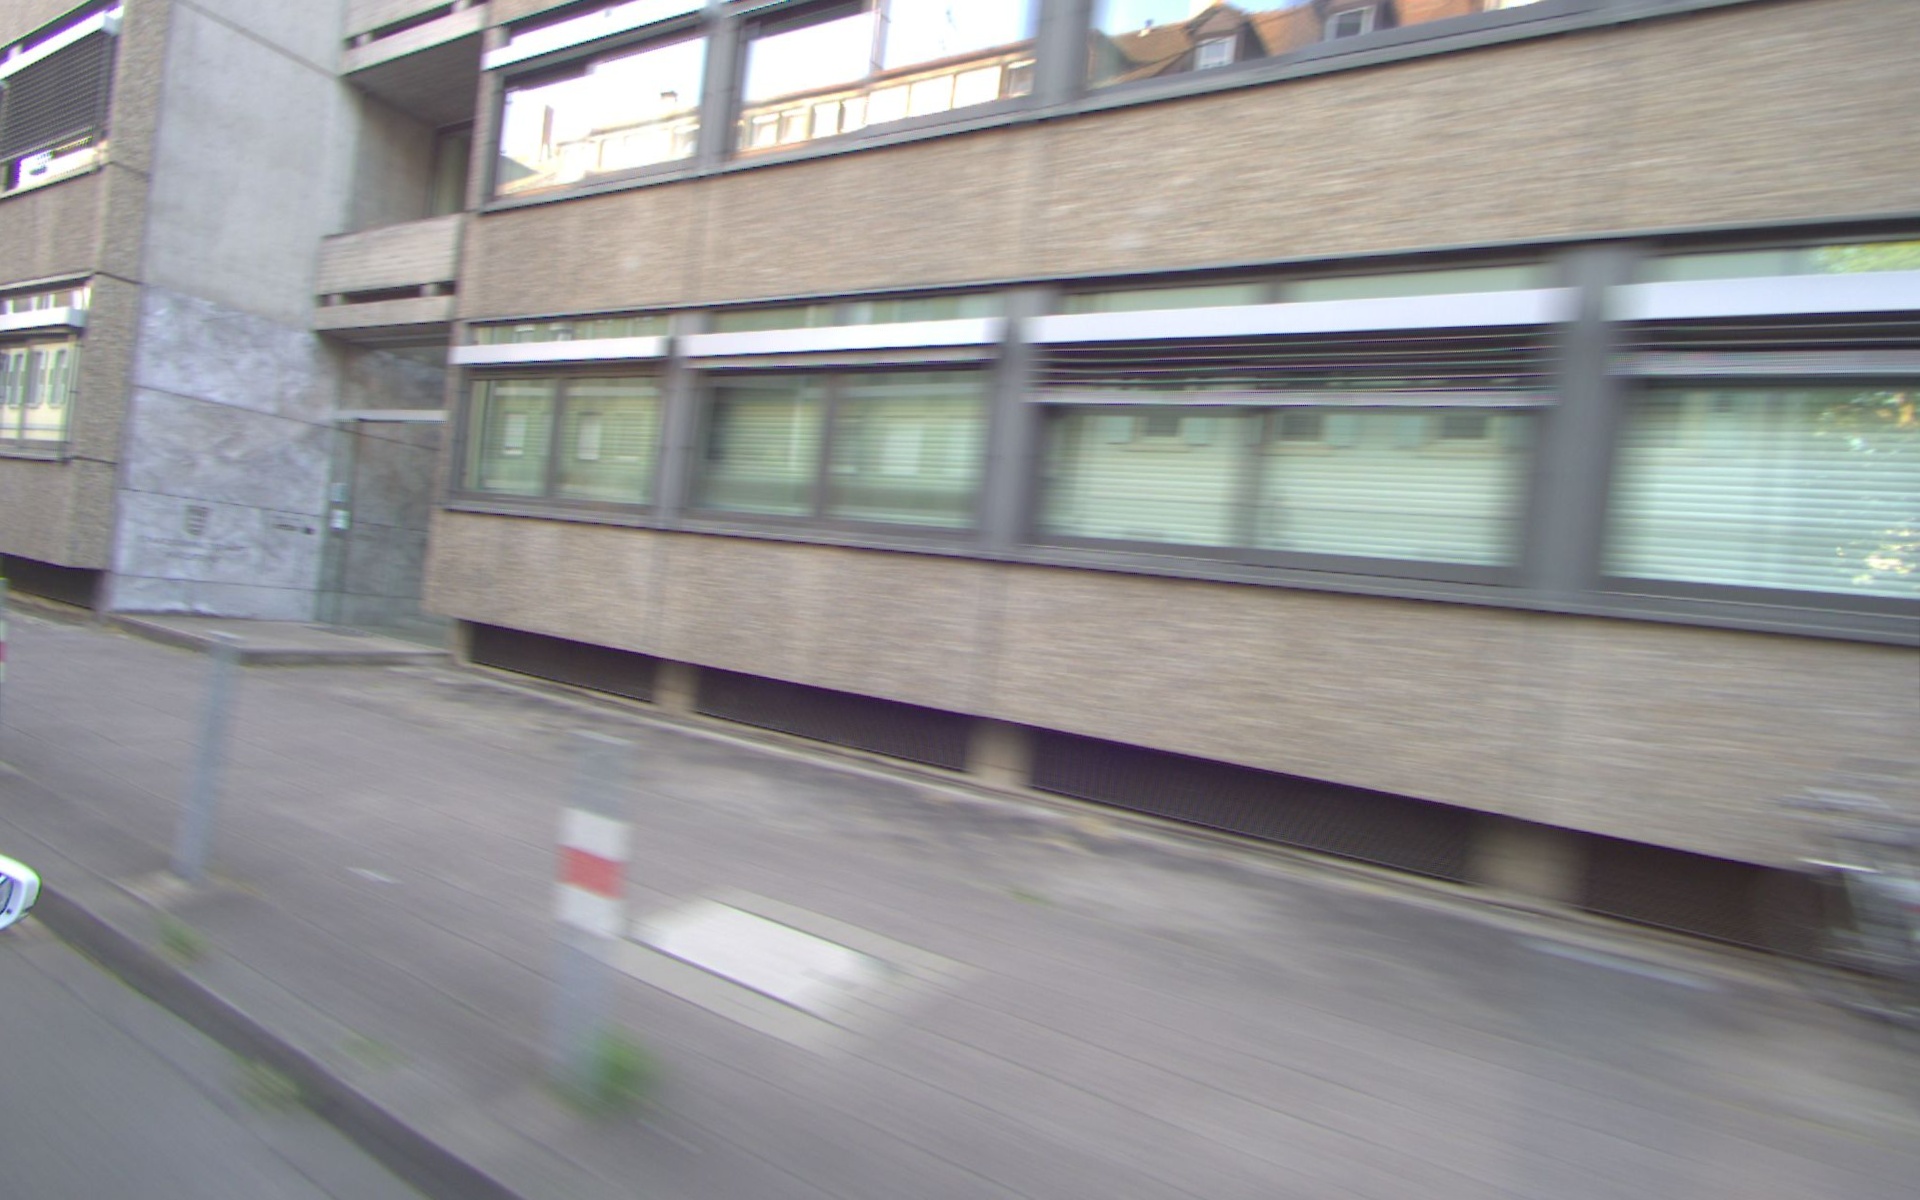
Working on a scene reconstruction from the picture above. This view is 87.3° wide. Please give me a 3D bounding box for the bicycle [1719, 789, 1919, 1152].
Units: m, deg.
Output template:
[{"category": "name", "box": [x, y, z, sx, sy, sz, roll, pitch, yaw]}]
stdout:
[{"category": "bicycle", "box": [3.507, 1.314, 3.808, 0.528, 0.934, 1.745, 7, -1, 24]}]
